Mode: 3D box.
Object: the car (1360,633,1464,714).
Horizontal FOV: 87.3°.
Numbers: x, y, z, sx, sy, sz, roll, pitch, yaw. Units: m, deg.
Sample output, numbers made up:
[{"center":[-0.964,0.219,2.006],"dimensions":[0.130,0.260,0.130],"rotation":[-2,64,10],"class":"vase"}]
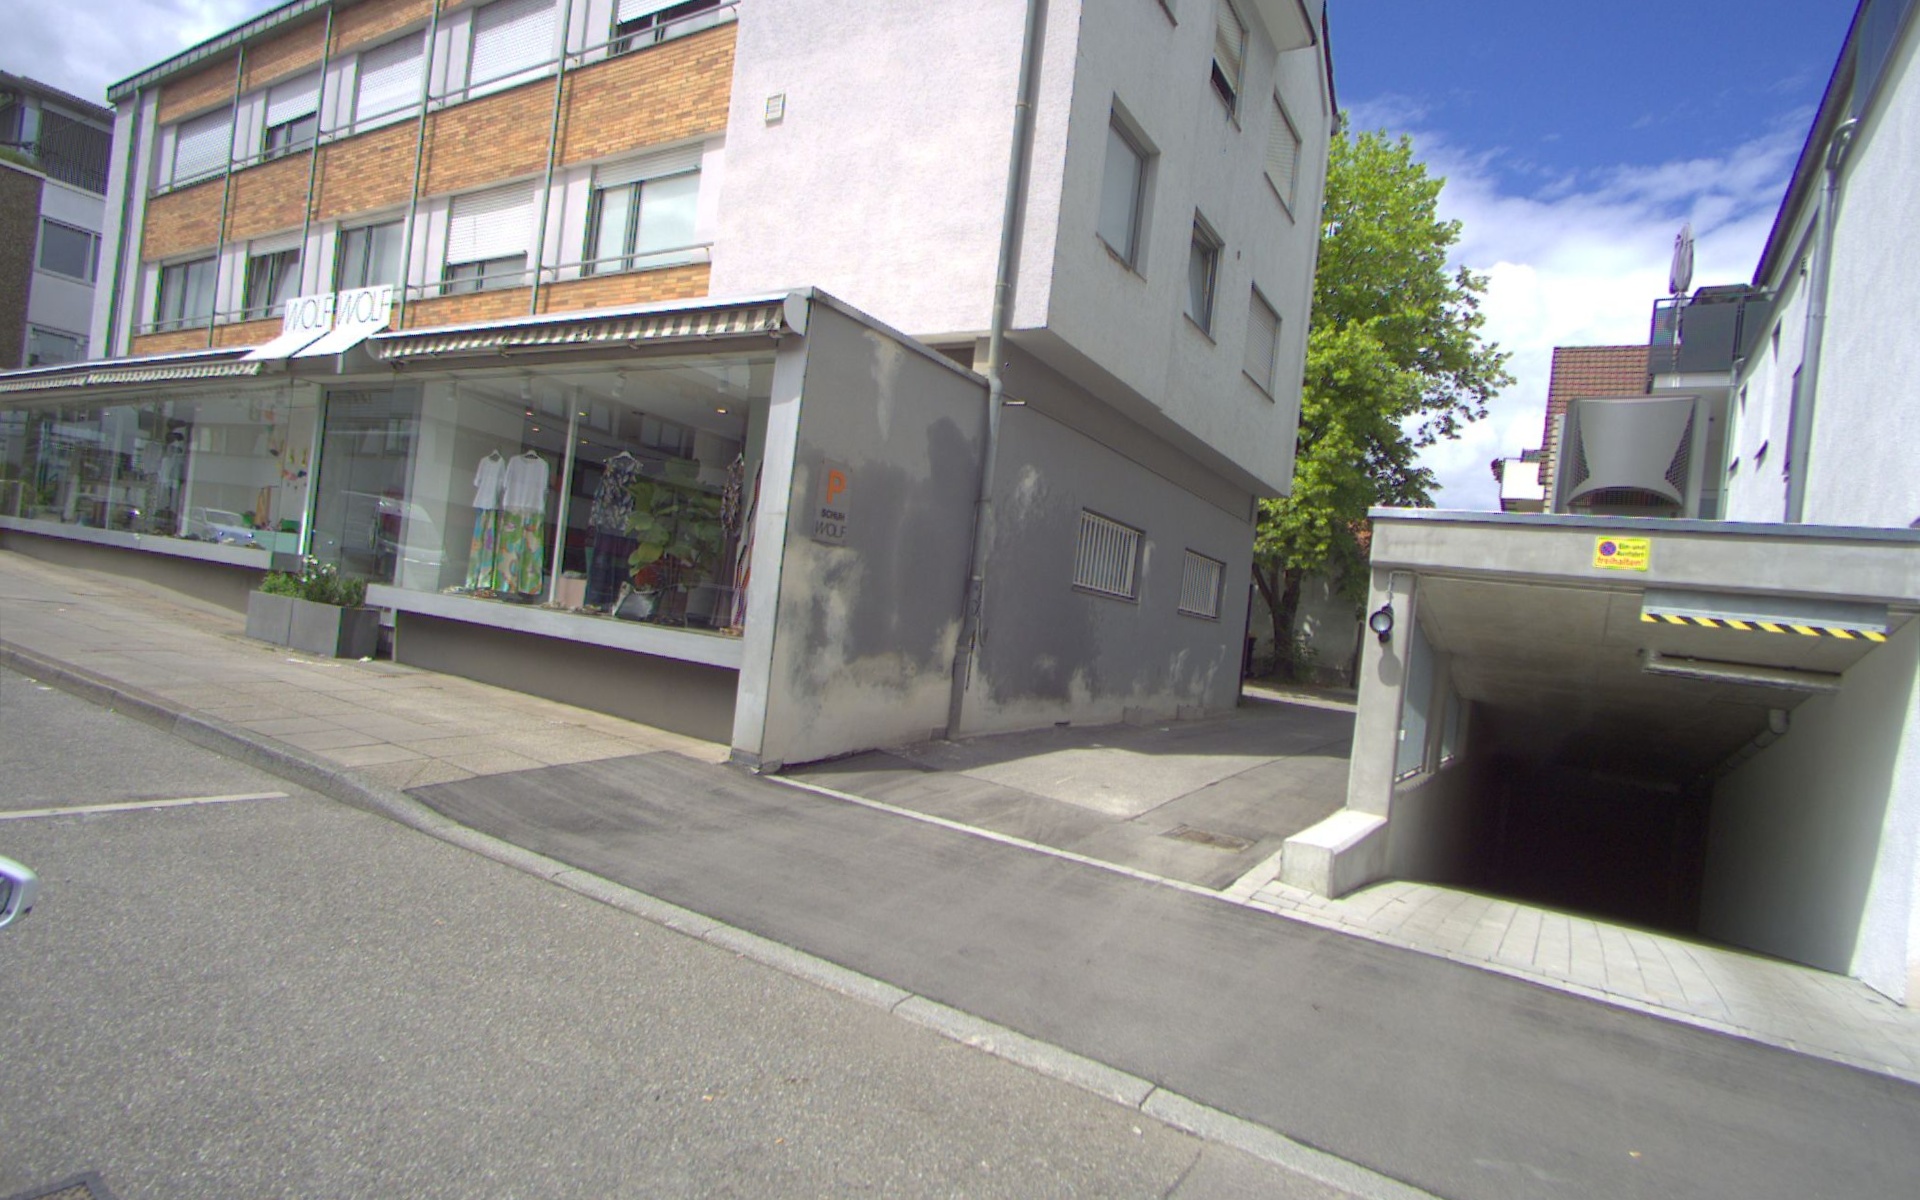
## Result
[{"center":[11.232,1.803,24.876],"dimensions":[1.659,1.643,3.990],"rotation":[7,1,32],"class":"car"}]
